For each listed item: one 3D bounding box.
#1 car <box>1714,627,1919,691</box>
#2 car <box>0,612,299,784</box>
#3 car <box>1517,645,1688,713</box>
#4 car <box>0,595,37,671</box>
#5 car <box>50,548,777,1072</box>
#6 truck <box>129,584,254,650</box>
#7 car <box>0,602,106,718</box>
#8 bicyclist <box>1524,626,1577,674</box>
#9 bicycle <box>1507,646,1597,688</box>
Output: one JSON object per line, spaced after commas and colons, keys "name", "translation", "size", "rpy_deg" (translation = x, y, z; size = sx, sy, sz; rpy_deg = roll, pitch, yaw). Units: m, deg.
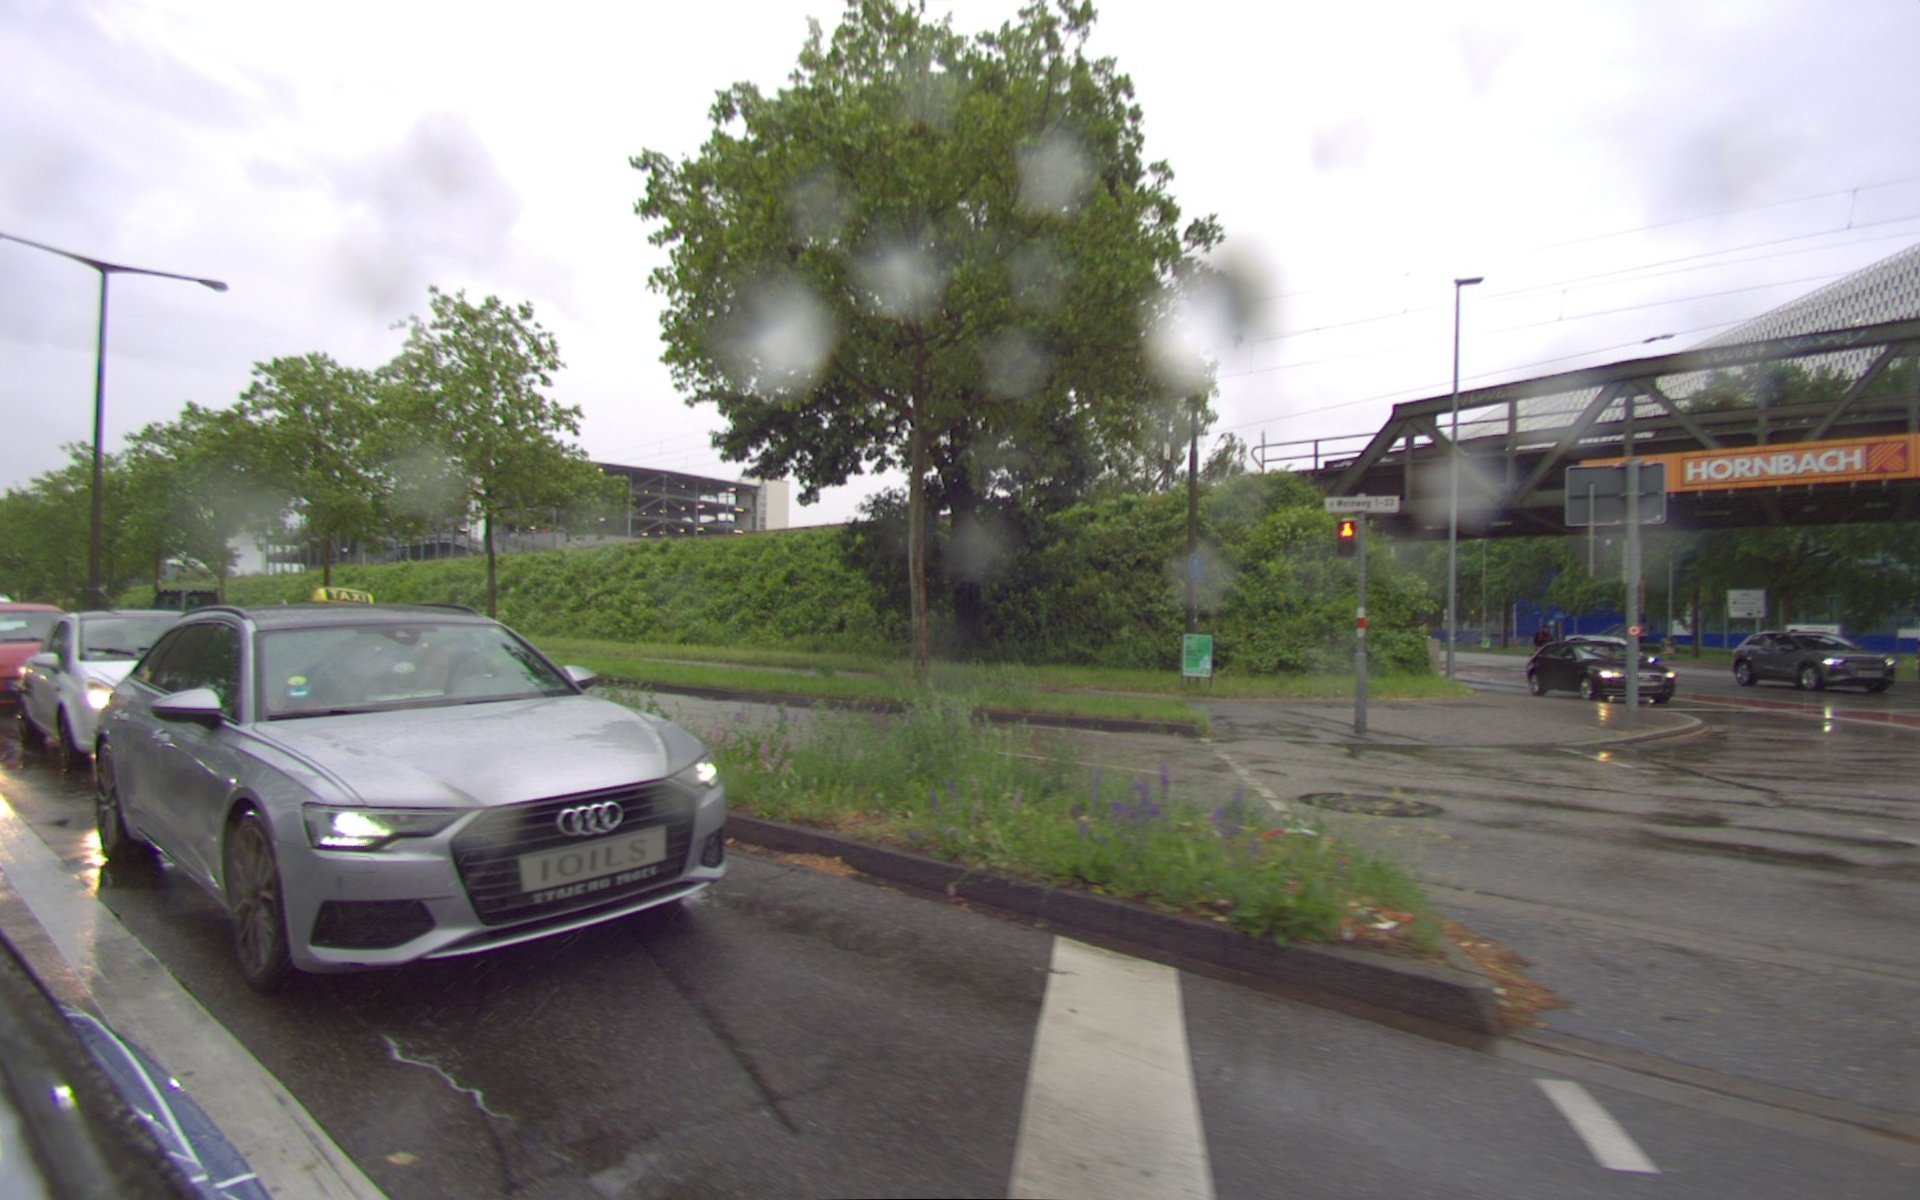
{"name": "car", "translation": [23.836, 1.573, 28.476], "size": [1.859, 1.612, 4.945], "rpy_deg": [1, -1, 5]}
{"name": "car", "translation": [-8.376, 0.833, 10.304], "size": [4.007, 1.387, 1.662], "rpy_deg": [-1, 0, 40]}
{"name": "car", "translation": [15.467, 1.852, 24.643], "size": [1.671, 1.445, 4.143], "rpy_deg": [0, -2, 3]}
{"name": "car", "translation": [-22.420, 0.728, 22.885], "size": [4.144, 1.624, 1.808], "rpy_deg": [-1, 0, 41]}
{"name": "car", "translation": [-3.192, 0.642, 5.309], "size": [4.818, 1.586, 1.751], "rpy_deg": [-1, 0, 41]}
{"name": "truck", "translation": [-30.350, 0.653, 39.878], "size": [6.862, 2.383, 2.449], "rpy_deg": [0, -2, 40]}
{"name": "car", "translation": [-13.719, 0.793, 14.500], "size": [4.091, 1.476, 1.701], "rpy_deg": [-1, 0, 41]}
{"name": "bicyclist", "translation": [19.172, 1.619, 32.903], "size": [1.138, 1.495, 1.055], "rpy_deg": [1, -2, 6]}
{"name": "bicycle", "translation": [19.162, 2.136, 32.888], "size": [1.185, 1.213, 3.443], "rpy_deg": [1, -2, 6]}
